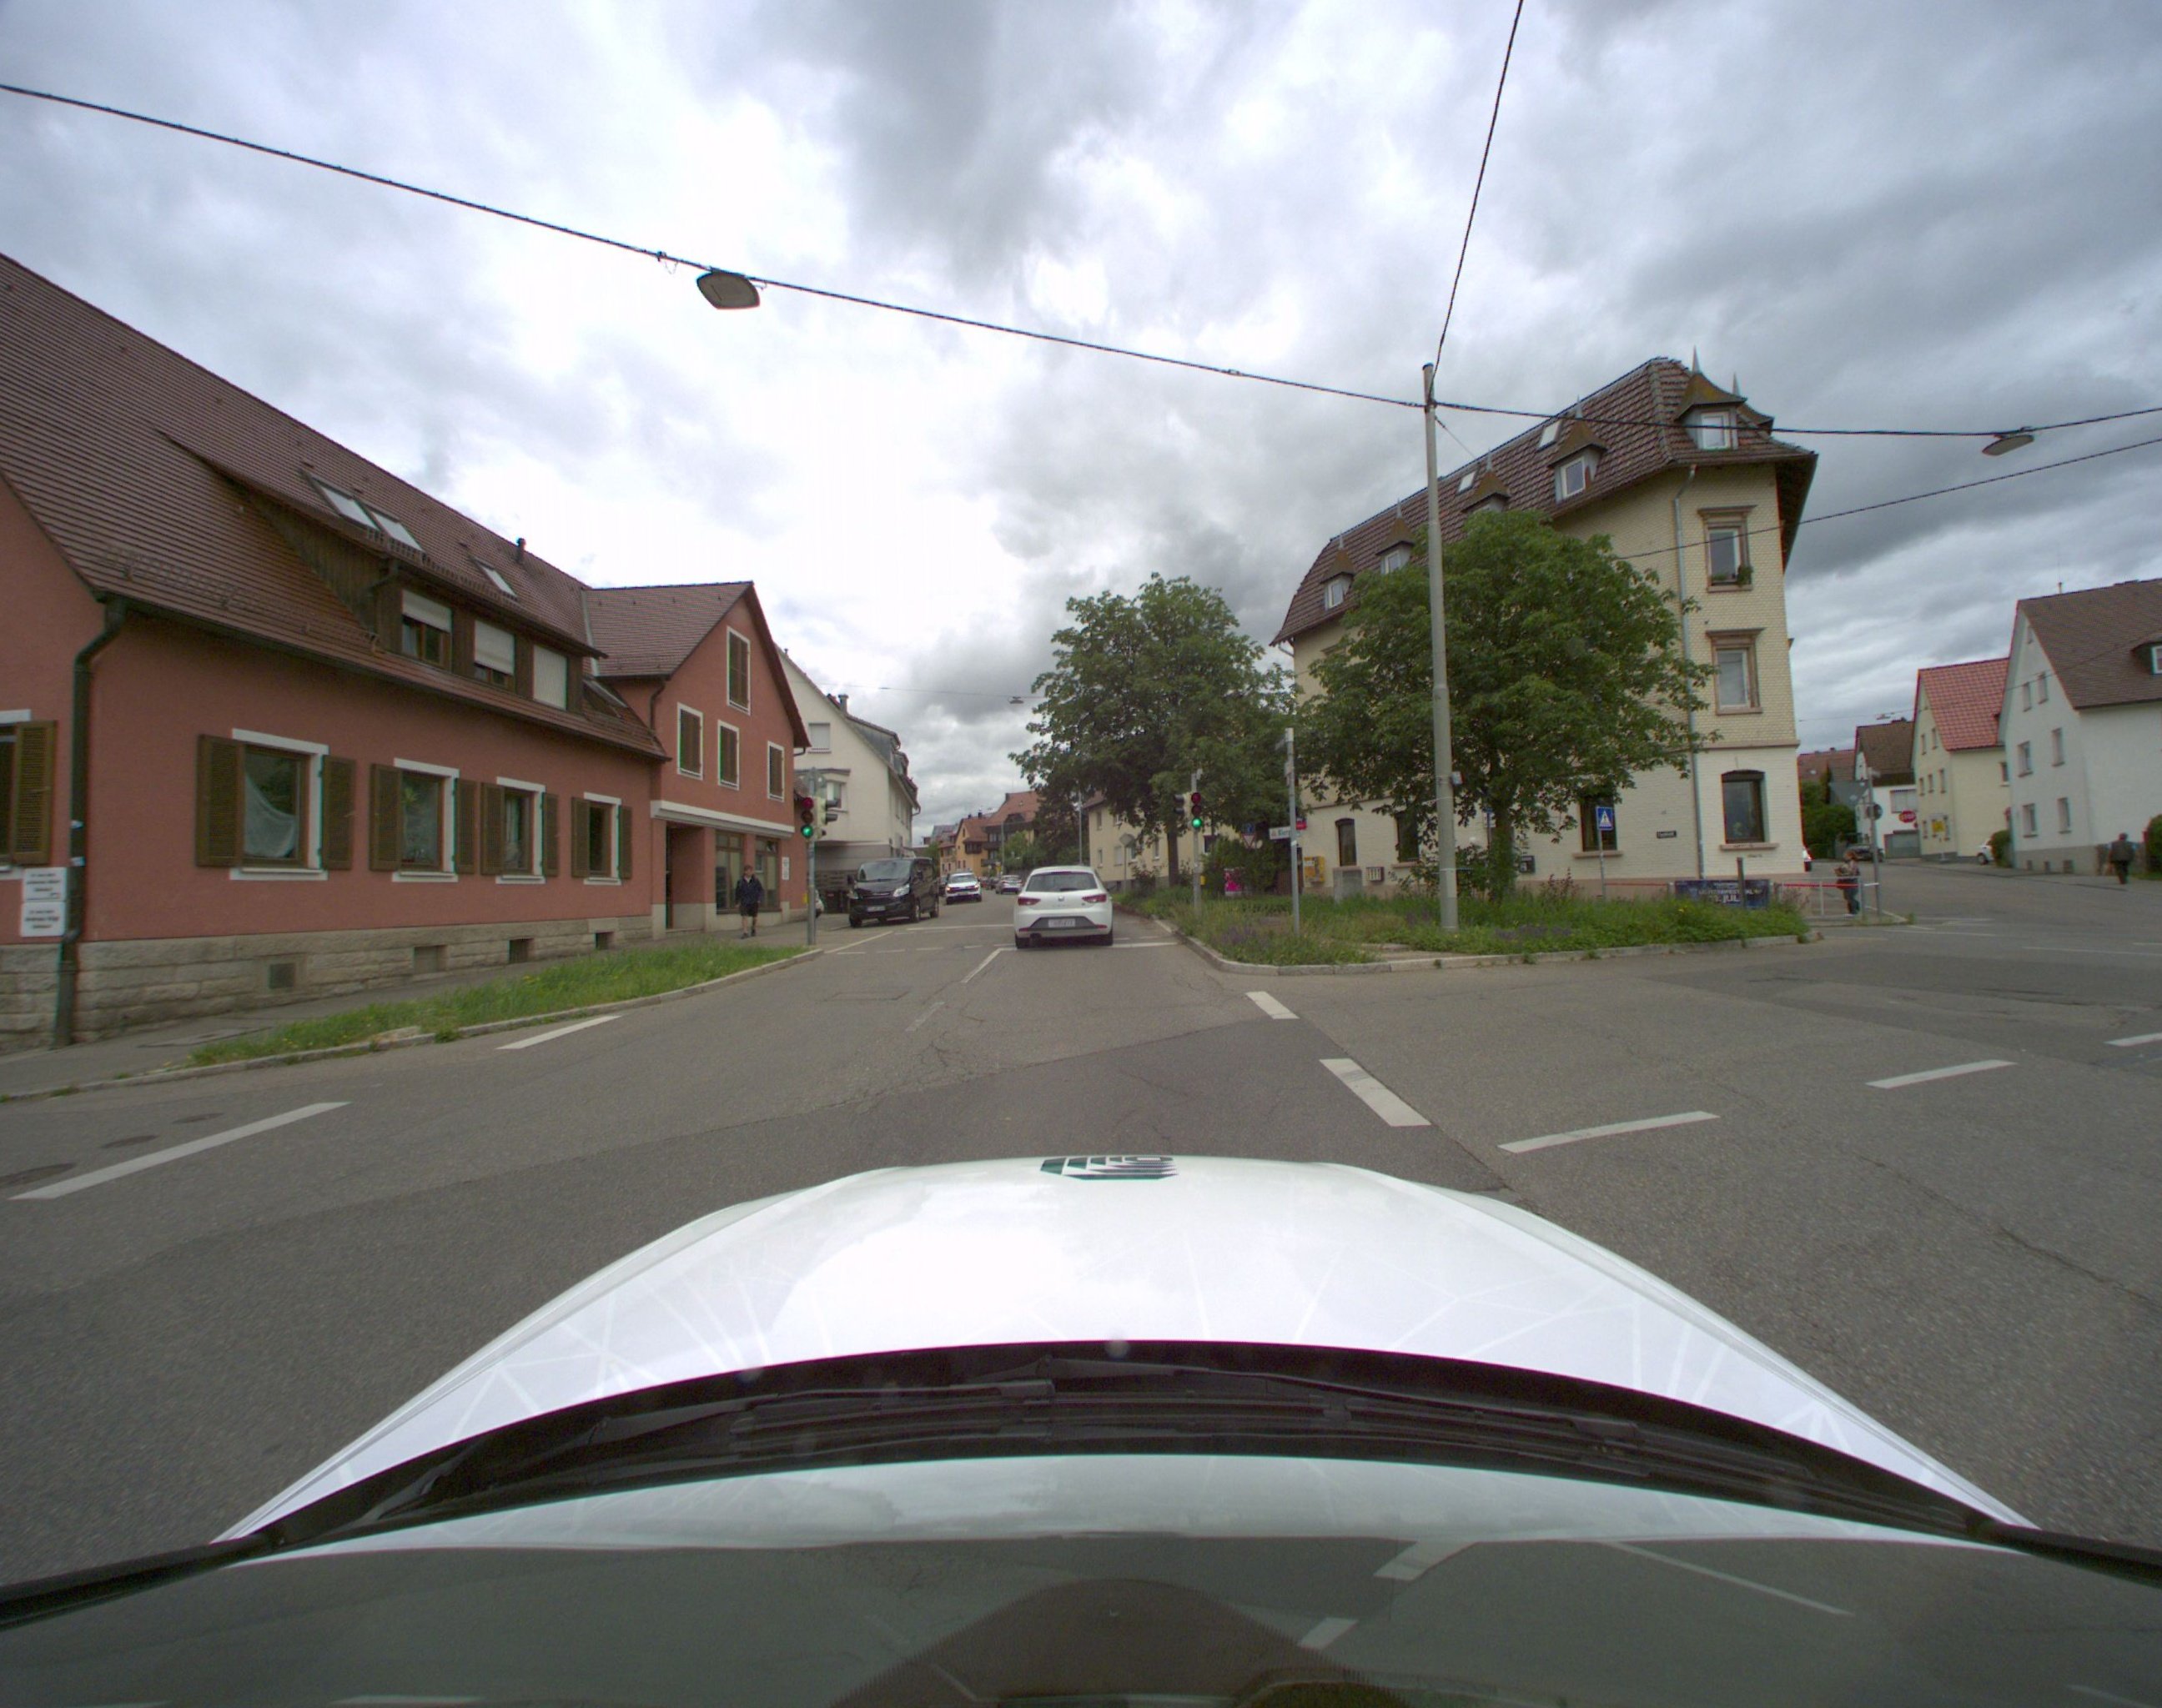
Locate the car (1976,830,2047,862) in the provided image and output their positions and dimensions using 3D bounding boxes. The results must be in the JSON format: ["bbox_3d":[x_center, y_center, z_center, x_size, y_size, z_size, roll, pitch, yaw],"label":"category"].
[{"bbox_3d":[49.898,-0.401,43.760,1.800,1.600,3.912,-1,-2,38],"label":"car"}]

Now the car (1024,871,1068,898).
[{"bbox_3d":[-2.014,1.735,46.048,1.760,1.452,3.981,-1,-2,-13],"label":"car"}]

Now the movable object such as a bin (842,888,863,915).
[{"bbox_3d":[-9.413,1.953,33.549,0.664,1.018,0.794,-2,-1,-3],"label":"movable object such as a bin"}]

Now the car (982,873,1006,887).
[{"bbox_3d":[-9.546,2.912,89.312,1.763,1.452,3.975,-1,-2,-18],"label":"car"}]

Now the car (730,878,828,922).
[{"bbox_3d":[-10.870,1.643,29.467,2.818,1.475,1.744,-2,-2,3],"label":"car"}]

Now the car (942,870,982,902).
[{"bbox_3d":[-6.441,1.722,44.544,1.996,1.633,4.845,-1,-2,-7],"label":"car"}]

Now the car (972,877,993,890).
[{"bbox_3d":[-12.134,3.625,100.101,1.763,1.452,3.975,-1,-2,-18],"label":"car"}]

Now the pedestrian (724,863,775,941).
[{"bbox_3d":[-7.824,1.119,19.249,0.798,1.785,0.892,-1,-1,0],"label":"pedestrian"}]

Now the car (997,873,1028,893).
[{"bbox_3d":[-5.330,2.282,63.106,1.761,1.452,3.980,-1,-2,-14],"label":"car"}]

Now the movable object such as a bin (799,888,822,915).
[{"bbox_3d":[-11.124,1.949,33.484,0.664,1.018,0.794,-2,-1,-3],"label":"movable object such as a bin"}]

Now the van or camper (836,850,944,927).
[{"bbox_3d":[-5.713,1.072,25.055,2.067,2.006,4.856,-4,-3,0],"label":"van or camper"}]

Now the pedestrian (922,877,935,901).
[{"bbox_3d":[-9.781,2.236,52.332,0.806,1.500,0.972,1,-3,-10],"label":"pedestrian"}]

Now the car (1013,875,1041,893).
[{"bbox_3d":[-4.674,2.604,70.363,1.761,1.452,3.980,1,-3,-14],"label":"car"}]

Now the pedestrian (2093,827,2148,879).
[{"bbox_3d":[35.242,-0.033,27.627,0.902,1.739,0.751,0,-1,28],"label":"pedestrian"}]

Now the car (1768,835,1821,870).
[{"bbox_3d":[43.020,-0.072,49.184,1.974,2.014,4.025,0,-1,35],"label":"car"}]

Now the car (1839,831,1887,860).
[{"bbox_3d":[57.616,-0.614,60.077,1.974,2.014,4.025,0,-1,35],"label":"car"}]

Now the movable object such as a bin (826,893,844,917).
[{"bbox_3d":[-10.093,2.085,33.410,0.532,0.971,0.635,0,-1,0],"label":"movable object such as a bin"}]

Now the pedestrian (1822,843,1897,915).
[{"bbox_3d":[19.189,0.600,20.103,1.015,1.733,0.861,0,-1,1],"label":"pedestrian"}]

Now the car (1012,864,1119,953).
[{"bbox_3d":[-0.253,0.968,15.648,1.753,1.452,3.999,-1,-1,0],"label":"car"}]
